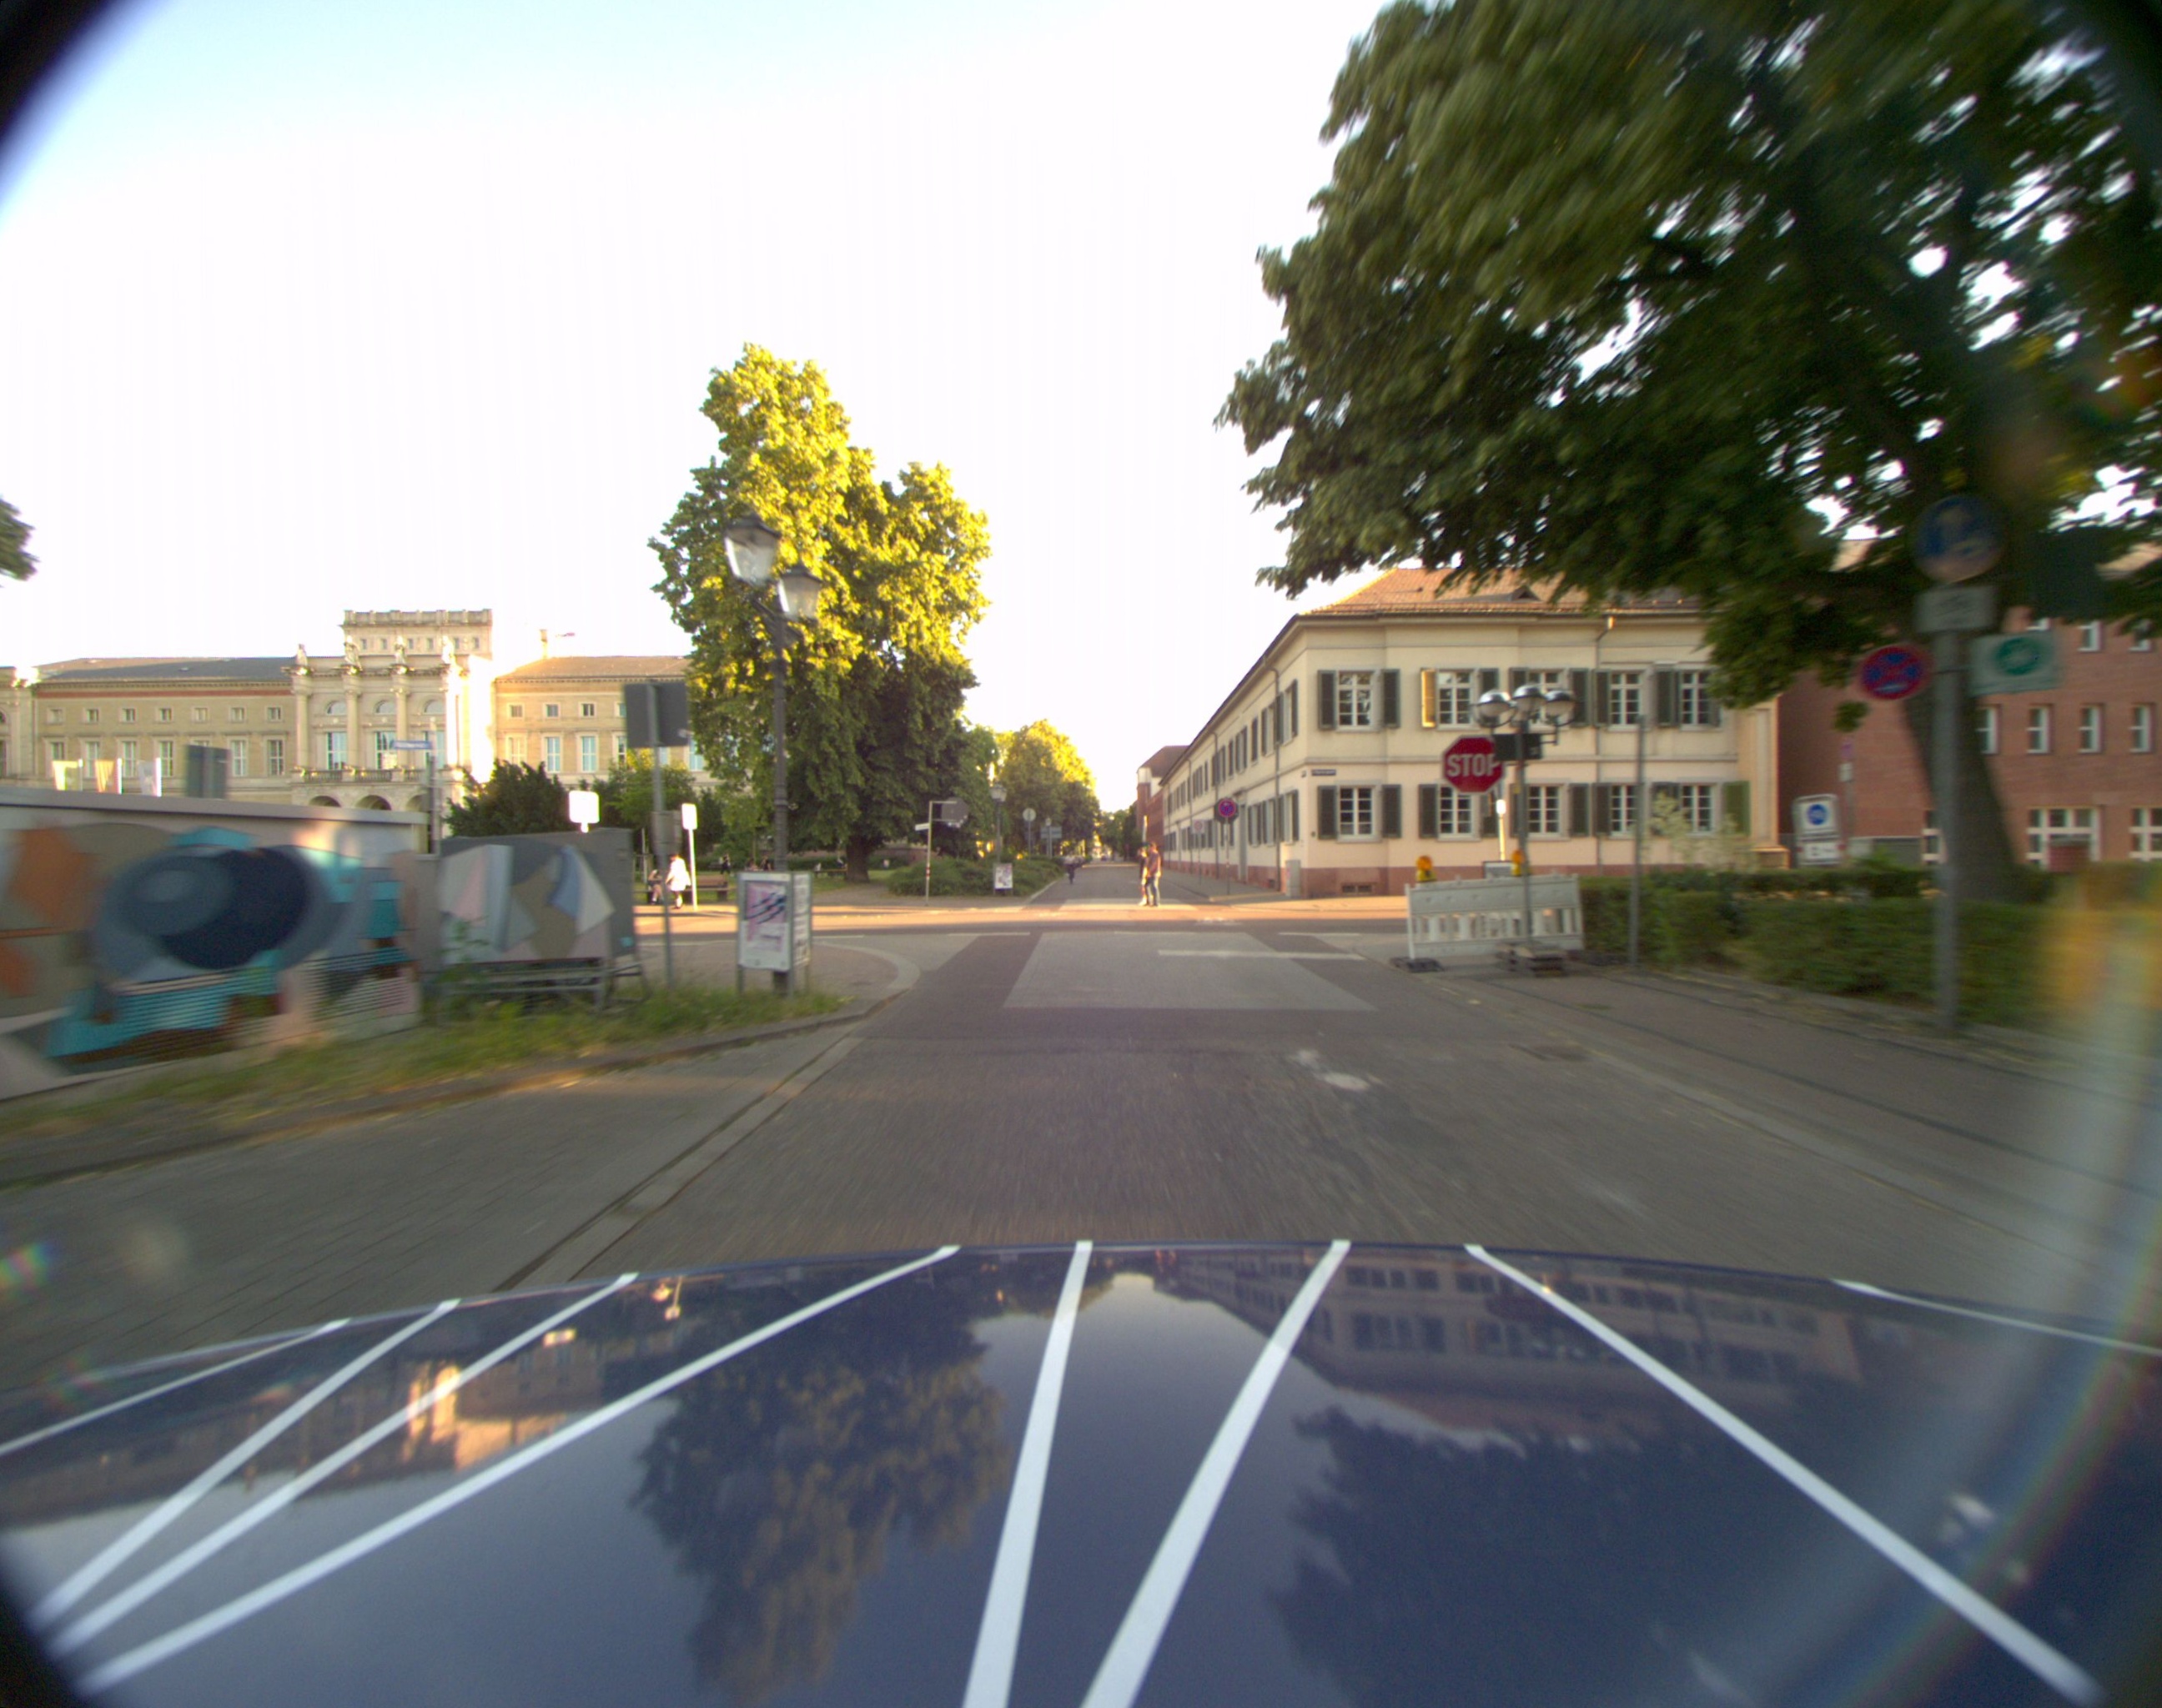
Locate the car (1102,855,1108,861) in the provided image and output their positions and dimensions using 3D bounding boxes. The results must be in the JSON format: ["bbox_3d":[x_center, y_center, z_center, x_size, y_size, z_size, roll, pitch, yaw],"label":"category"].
[{"bbox_3d":[8.070,1.297,257.533,1.998,2.001,4.001,-1,-1,2],"label":"car"}]

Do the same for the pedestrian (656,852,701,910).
[{"bbox_3d":[-11.582,0.760,21.868,0.858,1.616,0.757,0,1,5],"label":"pedestrian"}]

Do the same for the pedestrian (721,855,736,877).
[{"bbox_3d":[-22.941,0.762,49.397,0.754,1.435,0.816,-1,1,-33],"label":"pedestrian"}]

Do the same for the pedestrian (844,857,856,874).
[{"bbox_3d":[-13.884,0.676,45.656,0.605,1.044,0.394,-1,1,-35],"label":"pedestrian"}]

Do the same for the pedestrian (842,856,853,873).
[{"bbox_3d":[-14.204,0.635,46.207,0.605,1.044,0.394,-1,1,-32],"label":"pedestrian"}]

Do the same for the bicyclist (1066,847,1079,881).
[{"bbox_3d":[-0.477,0.512,40.932,0.672,1.793,1.060,-1,0,-1],"label":"bicyclist"}]

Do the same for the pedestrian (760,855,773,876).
[{"bbox_3d":[-18.394,0.653,44.461,0.605,1.195,0.394,-1,1,-39],"label":"pedestrian"}]

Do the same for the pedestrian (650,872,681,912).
[{"bbox_3d":[-12.770,1.152,23.360,0.608,1.197,0.666,0,1,-4],"label":"pedestrian"}]

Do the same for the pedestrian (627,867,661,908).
[{"bbox_3d":[-13.382,1.013,23.283,0.528,1.197,0.970,0,1,-4],"label":"pedestrian"}]

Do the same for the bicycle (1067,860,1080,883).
[{"bbox_3d":[-0.432,0.942,40.951,0.653,1.175,2.344,0,0,-1],"label":"bicycle"}]

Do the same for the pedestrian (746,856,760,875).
[{"bbox_3d":[-19.062,0.663,44.142,0.605,1.102,0.394,-1,1,-44],"label":"pedestrian"}]

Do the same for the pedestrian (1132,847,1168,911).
[{"bbox_3d":[1.924,0.682,21.365,0.941,1.777,0.762,0,1,-1],"label":"pedestrian"}]

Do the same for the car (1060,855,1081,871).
[{"bbox_3d":[-0.998,0.886,73.965,1.815,1.584,4.001,-1,-1,2],"label":"car"}]

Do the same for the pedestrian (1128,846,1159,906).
[{"bbox_3d":[1.820,0.645,22.278,0.859,1.730,0.649,0,1,-1],"label":"pedestrian"}]
